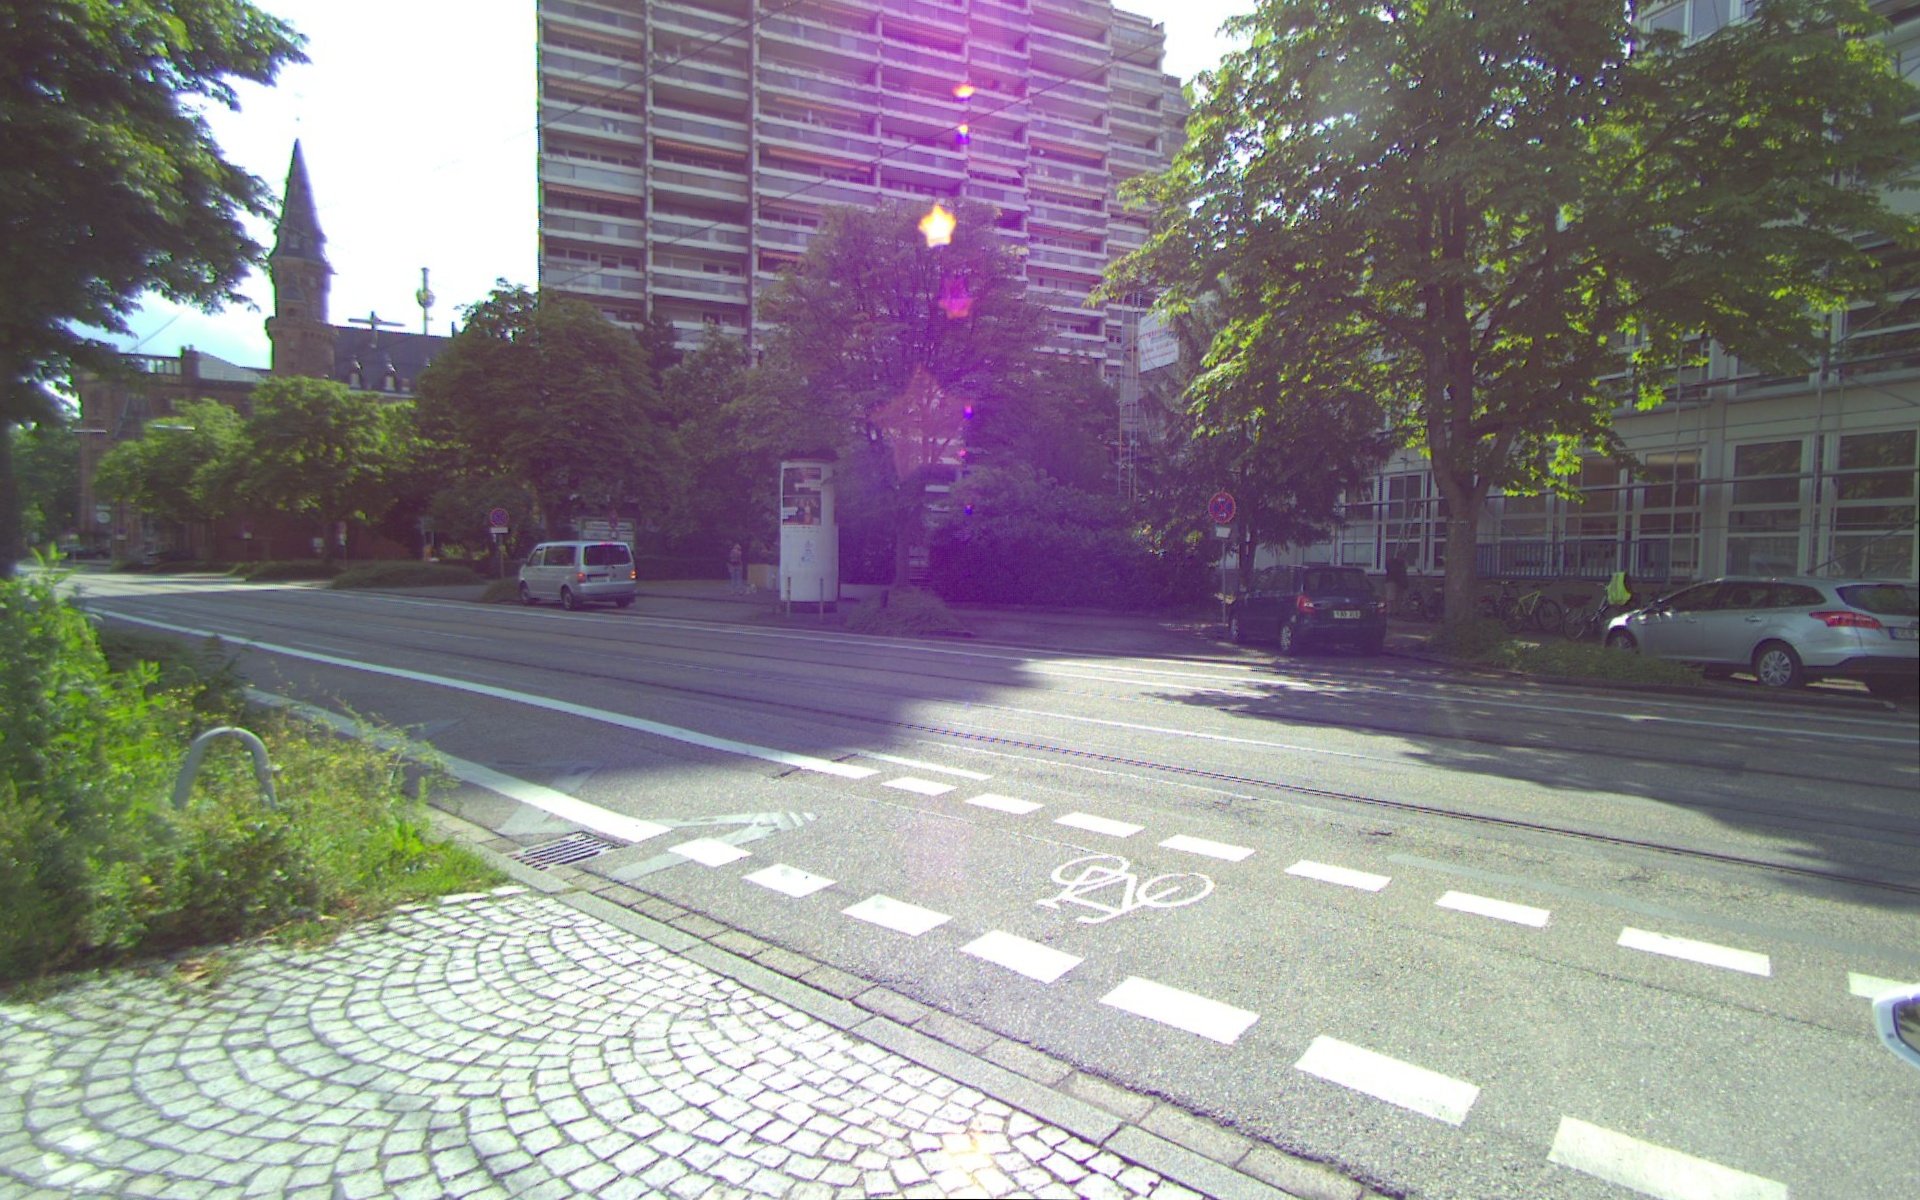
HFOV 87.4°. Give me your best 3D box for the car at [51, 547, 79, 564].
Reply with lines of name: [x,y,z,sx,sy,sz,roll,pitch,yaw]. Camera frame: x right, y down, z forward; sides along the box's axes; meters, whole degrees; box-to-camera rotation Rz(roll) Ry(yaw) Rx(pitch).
car: [-91.205,-4.563,102.392,3.893,1.595,1.622,3,0,41]

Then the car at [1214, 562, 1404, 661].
car: [6.005,0.111,17.802,1.709,1.544,3.881,1,2,-5]

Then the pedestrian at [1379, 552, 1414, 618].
pedestrian: [11.107,-0.390,25.561,0.650,1.646,0.640,3,4,33]

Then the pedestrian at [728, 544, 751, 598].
pedestrian: [-7.585,-1.005,34.499,0.521,1.778,0.627,-4,7,-42]

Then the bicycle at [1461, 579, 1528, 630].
bicycle: [12.147,0.101,22.811,1.559,1.129,0.538,0,0,-26]

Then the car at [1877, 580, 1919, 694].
car: [13.371,0.555,11.516,1.787,1.469,4.169,1,2,-2]

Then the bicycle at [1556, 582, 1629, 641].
bicycle: [13.040,0.235,20.718,1.559,1.178,0.538,0,0,-26]

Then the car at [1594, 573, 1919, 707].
car: [11.047,0.419,13.756,1.788,1.521,4.189,1,2,-5]

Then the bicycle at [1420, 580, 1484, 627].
bicycle: [11.781,0.081,24.049,1.559,1.107,0.538,0,0,-26]

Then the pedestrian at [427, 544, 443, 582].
pedestrian: [-25.438,-1.807,48.684,0.524,1.778,0.461,5,7,34]

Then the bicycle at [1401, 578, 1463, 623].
bicycle: [11.759,0.006,25.020,1.559,1.095,0.538,0,0,-26]

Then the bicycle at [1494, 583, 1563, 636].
bicycle: [12.524,0.195,22.127,1.559,1.136,0.538,0,0,-26]

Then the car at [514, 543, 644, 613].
car: [-11.396,-0.731,29.945,4.175,1.877,1.882,4,6,42]
